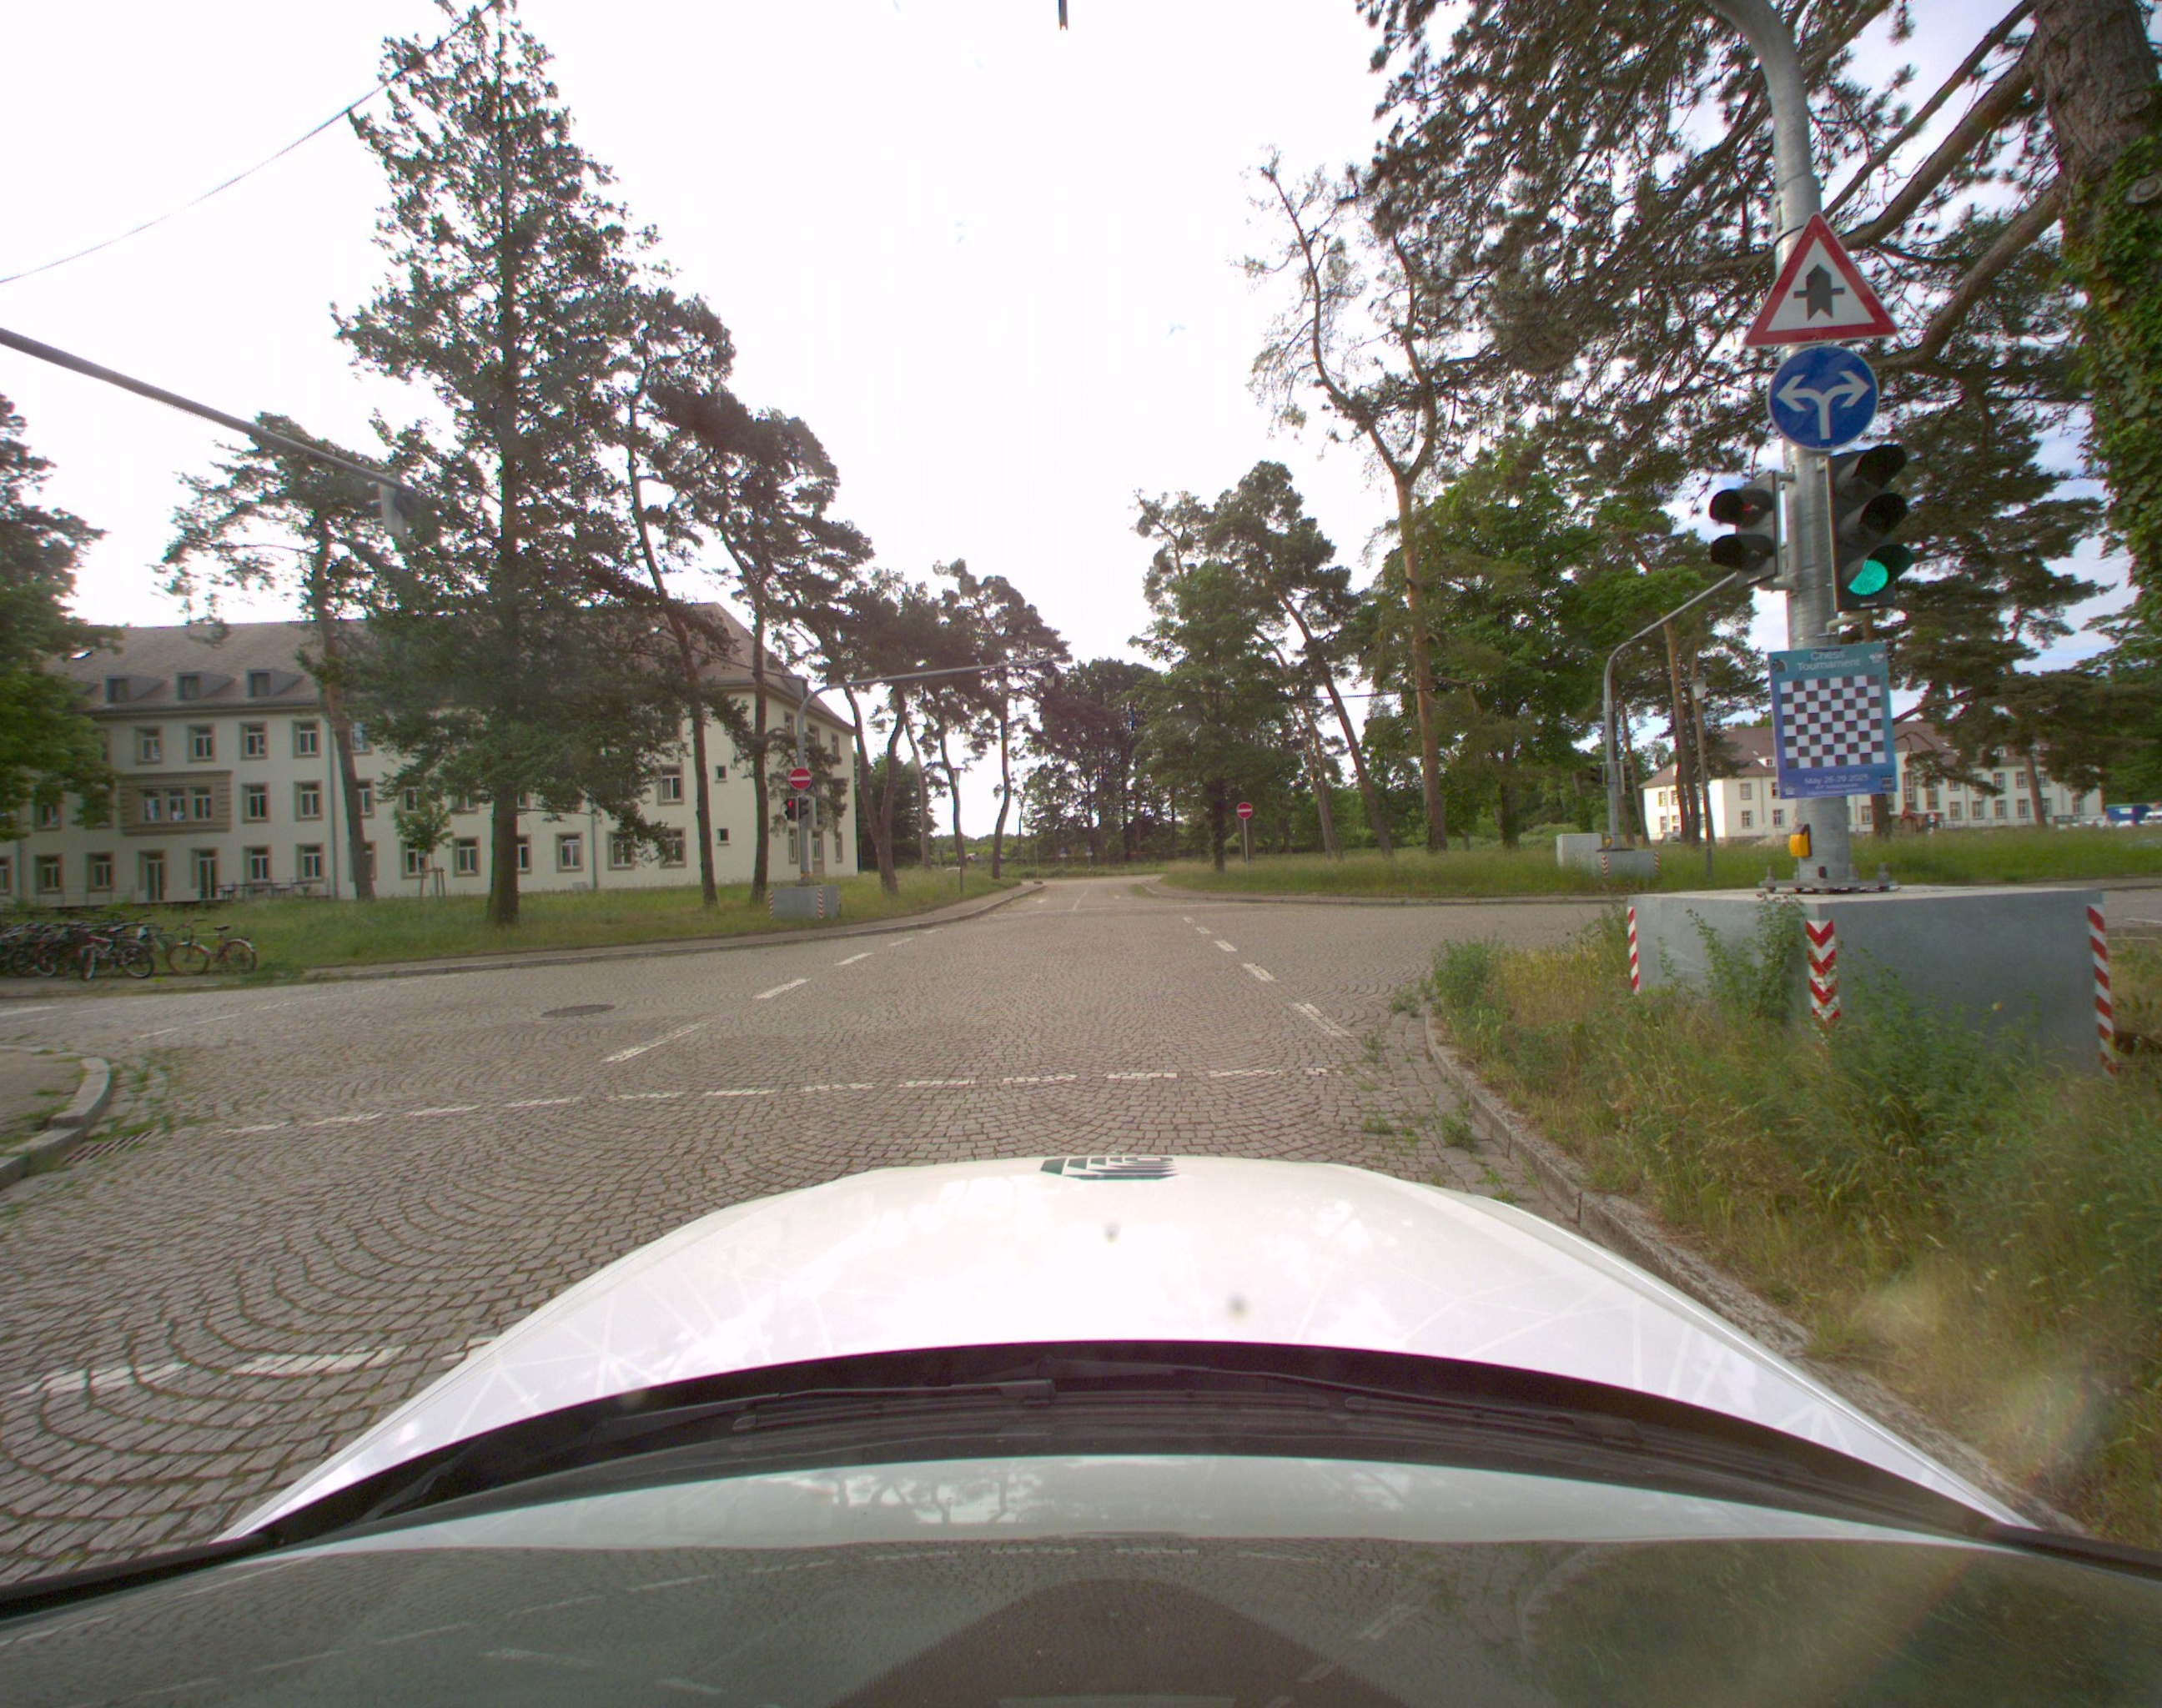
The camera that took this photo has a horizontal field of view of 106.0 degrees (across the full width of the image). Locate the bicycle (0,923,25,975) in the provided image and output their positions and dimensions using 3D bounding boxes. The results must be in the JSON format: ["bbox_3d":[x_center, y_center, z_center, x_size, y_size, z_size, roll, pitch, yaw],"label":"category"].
[{"bbox_3d":[-23.328,2.057,16.963,0.512,1.079,1.586,-3,-1,2],"label":"bicycle"}]

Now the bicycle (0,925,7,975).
[{"bbox_3d":[-23.712,2.093,16.961,0.512,1.079,1.586,-3,-1,2],"label":"bicycle"}]

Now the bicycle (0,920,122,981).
[{"bbox_3d":[-21.263,1.989,17.003,0.512,1.079,1.586,-3,-1,2],"label":"bicycle"}]

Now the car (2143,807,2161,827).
[{"bbox_3d":[110.524,-3.745,82.213,4.048,1.905,1.928,-1,-1,-1],"label":"car"}]

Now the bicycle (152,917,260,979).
[{"bbox_3d":[-16.871,1.799,15.717,1.460,1.065,0.516,-3,-1,-1],"label":"bicycle"}]

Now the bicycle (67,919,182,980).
[{"bbox_3d":[-19.883,1.966,16.978,0.513,1.079,1.584,-3,-1,-1],"label":"bicycle"}]

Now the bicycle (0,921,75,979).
[{"bbox_3d":[-22.255,2.015,16.976,0.512,1.079,1.586,-3,-1,2],"label":"bicycle"}]

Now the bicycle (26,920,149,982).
[{"bbox_3d":[-20.562,1.976,16.900,0.512,1.079,1.587,-3,-1,5],"label":"bicycle"}]

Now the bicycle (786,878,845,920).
[{"bbox_3d":[-7.581,1.281,23.282,1.460,1.065,0.516,-3,1,-1],"label":"bicycle"}]

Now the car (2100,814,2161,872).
[{"bbox_3d":[28.656,-0.316,20.126,1.726,1.509,4.247,-2,0,3],"label":"car"}]

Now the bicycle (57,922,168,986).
[{"bbox_3d":[-18.508,1.898,15.574,1.460,1.079,0.516,-3,-1,-1],"label":"bicycle"}]

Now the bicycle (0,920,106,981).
[{"bbox_3d":[-21.624,1.994,17.013,0.512,1.079,1.586,-3,-1,2],"label":"bicycle"}]

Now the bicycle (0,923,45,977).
[{"bbox_3d":[-22.877,2.047,16.963,0.512,1.079,1.586,-3,-1,2],"label":"bicycle"}]
